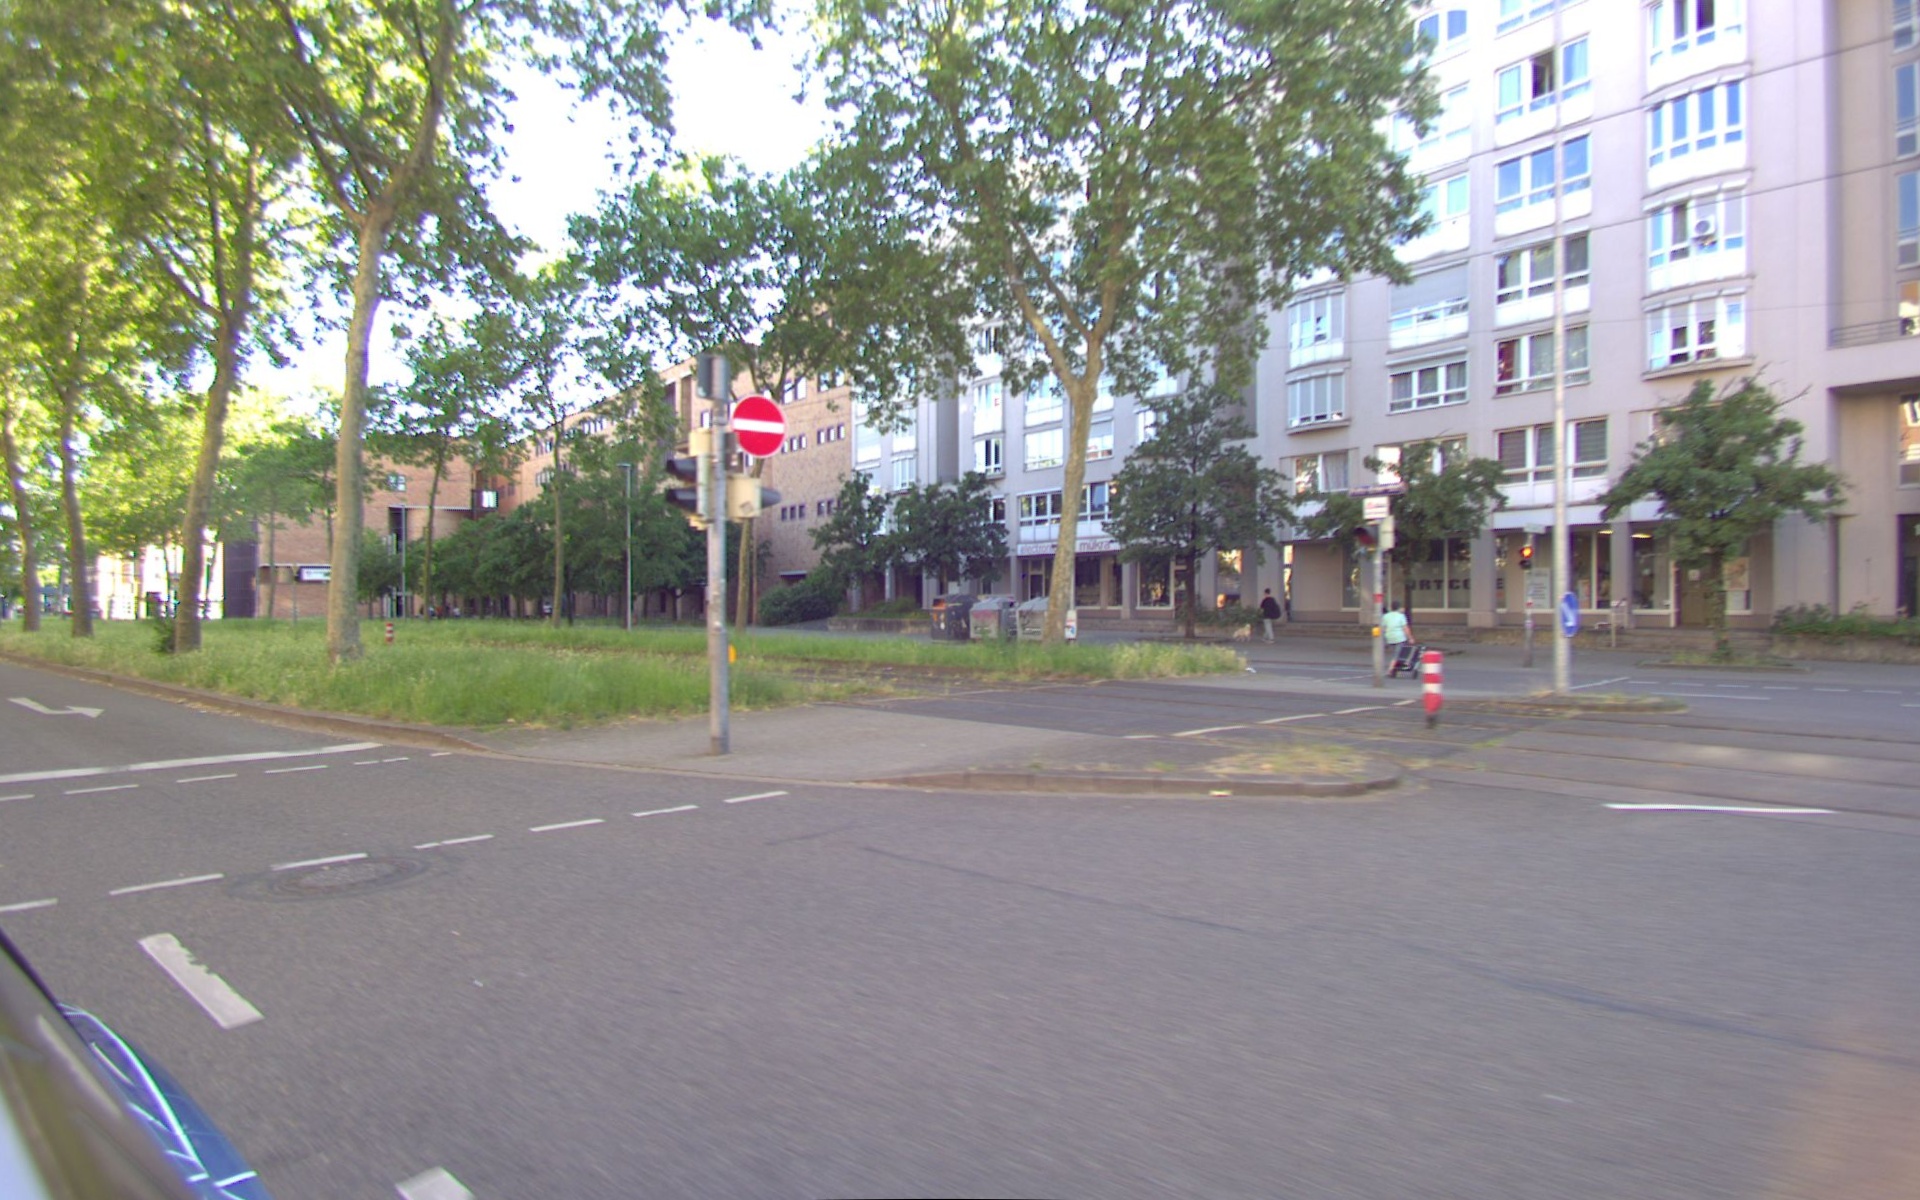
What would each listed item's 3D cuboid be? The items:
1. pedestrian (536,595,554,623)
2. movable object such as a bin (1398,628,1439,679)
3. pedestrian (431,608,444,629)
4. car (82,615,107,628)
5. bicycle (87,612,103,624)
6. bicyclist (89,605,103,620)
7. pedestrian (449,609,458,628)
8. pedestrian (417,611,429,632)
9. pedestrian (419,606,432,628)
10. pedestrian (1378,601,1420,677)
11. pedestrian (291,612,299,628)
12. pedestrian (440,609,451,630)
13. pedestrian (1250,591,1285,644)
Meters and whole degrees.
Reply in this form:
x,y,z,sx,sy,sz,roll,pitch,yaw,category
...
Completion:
x,y,z,sx,sy,sz,roll,pitch,yaw,category
-28.255,0.616,68.856,0.901,1.845,0.815,-1,-1,42,pedestrian
9.024,1.041,19.905,0.503,0.960,0.541,0,0,-35,movable object such as a bin
-41.198,1.475,79.781,0.756,1.629,0.657,-1,-1,40,pedestrian
-105.599,2.626,123.489,4.147,1.440,1.654,-1,-1,40,car
-89.750,1.848,105.039,2.435,1.134,0.946,0,0,42,bicycle
-89.616,1.293,104.925,1.209,1.583,0.931,-1,-1,42,bicyclist
-40.189,1.451,80.347,0.462,1.517,0.478,-1,-1,37,pedestrian
-42.514,1.712,80.123,0.756,1.629,0.657,-1,-1,40,pedestrian
-41.750,1.312,79.091,0.796,1.735,0.657,-1,-1,41,pedestrian
8.954,0.784,20.647,0.610,1.515,0.536,0,0,-35,pedestrian
-66.850,1.983,101.719,0.652,1.555,0.413,-1,-1,36,pedestrian
-40.827,1.546,80.334,0.596,1.692,0.604,-1,-1,40,pedestrian
9.873,0.559,32.488,0.698,1.651,0.790,0,0,-37,pedestrian
